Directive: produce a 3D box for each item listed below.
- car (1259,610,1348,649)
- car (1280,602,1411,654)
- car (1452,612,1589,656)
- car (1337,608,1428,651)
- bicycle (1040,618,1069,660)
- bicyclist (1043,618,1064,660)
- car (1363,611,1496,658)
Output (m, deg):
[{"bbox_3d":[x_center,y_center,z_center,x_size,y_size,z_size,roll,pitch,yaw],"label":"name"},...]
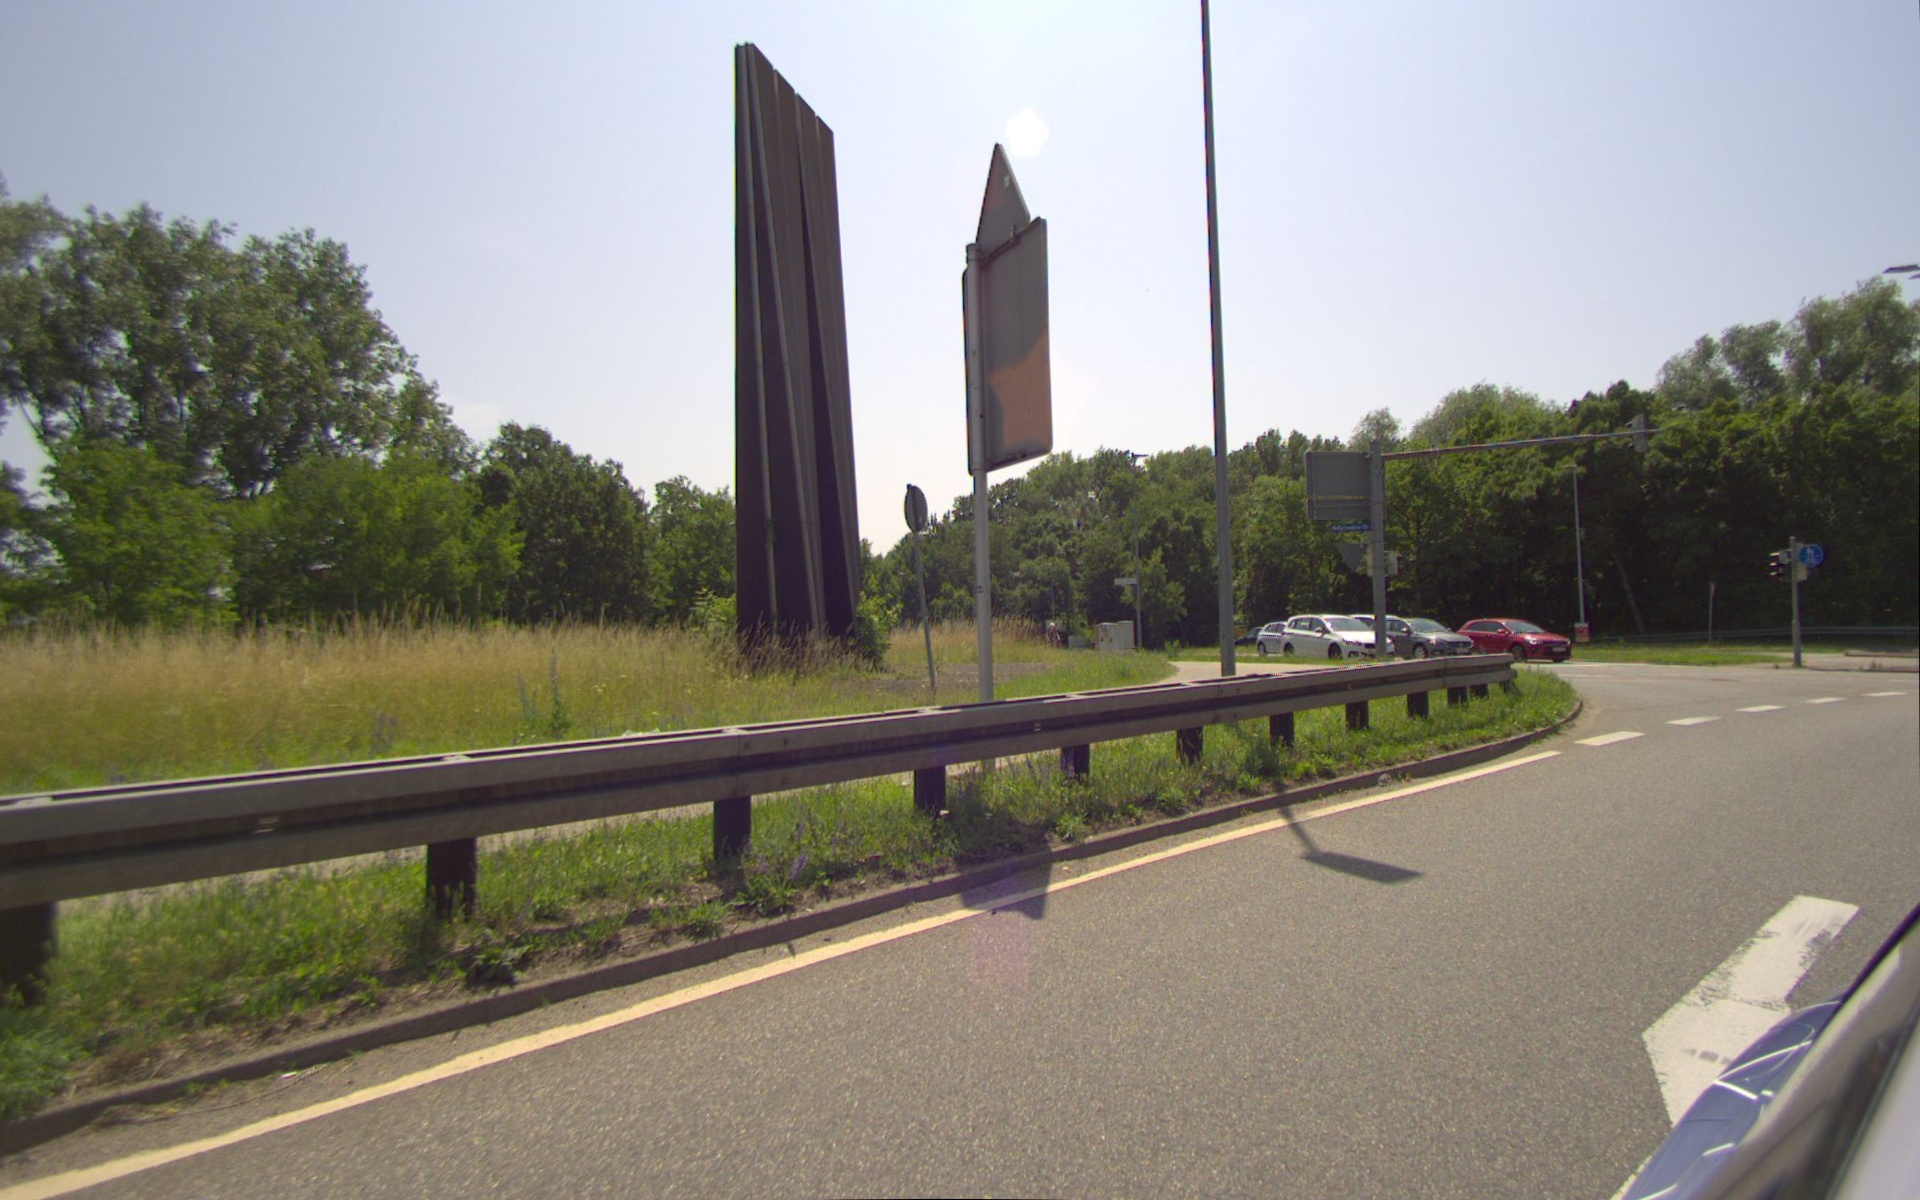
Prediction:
[{"bbox_3d":[13.665,1.149,40.466,1.549,1.448,4.006,0,-1,-11],"label":"car"},{"bbox_3d":[12.052,0.848,31.969,1.829,1.525,4.304,0,-1,-11],"label":"car"},{"bbox_3d":[18.711,1.086,34.011,1.718,1.372,4.193,0,-1,-11],"label":"car"},{"bbox_3d":[17.294,1.190,41.580,1.549,1.673,3.614,0,-1,-15],"label":"car"},{"bbox_3d":[3.686,1.517,39.812,0.643,1.594,2.377,-1,-1,-7],"label":"bicycle"},{"bbox_3d":[3.680,1.527,39.889,0.657,1.619,0.692,-1,-1,-6],"label":"bicyclist"},{"bbox_3d":[15.430,1.085,33.529,1.829,1.442,4.193,0,-1,-11],"label":"car"}]
